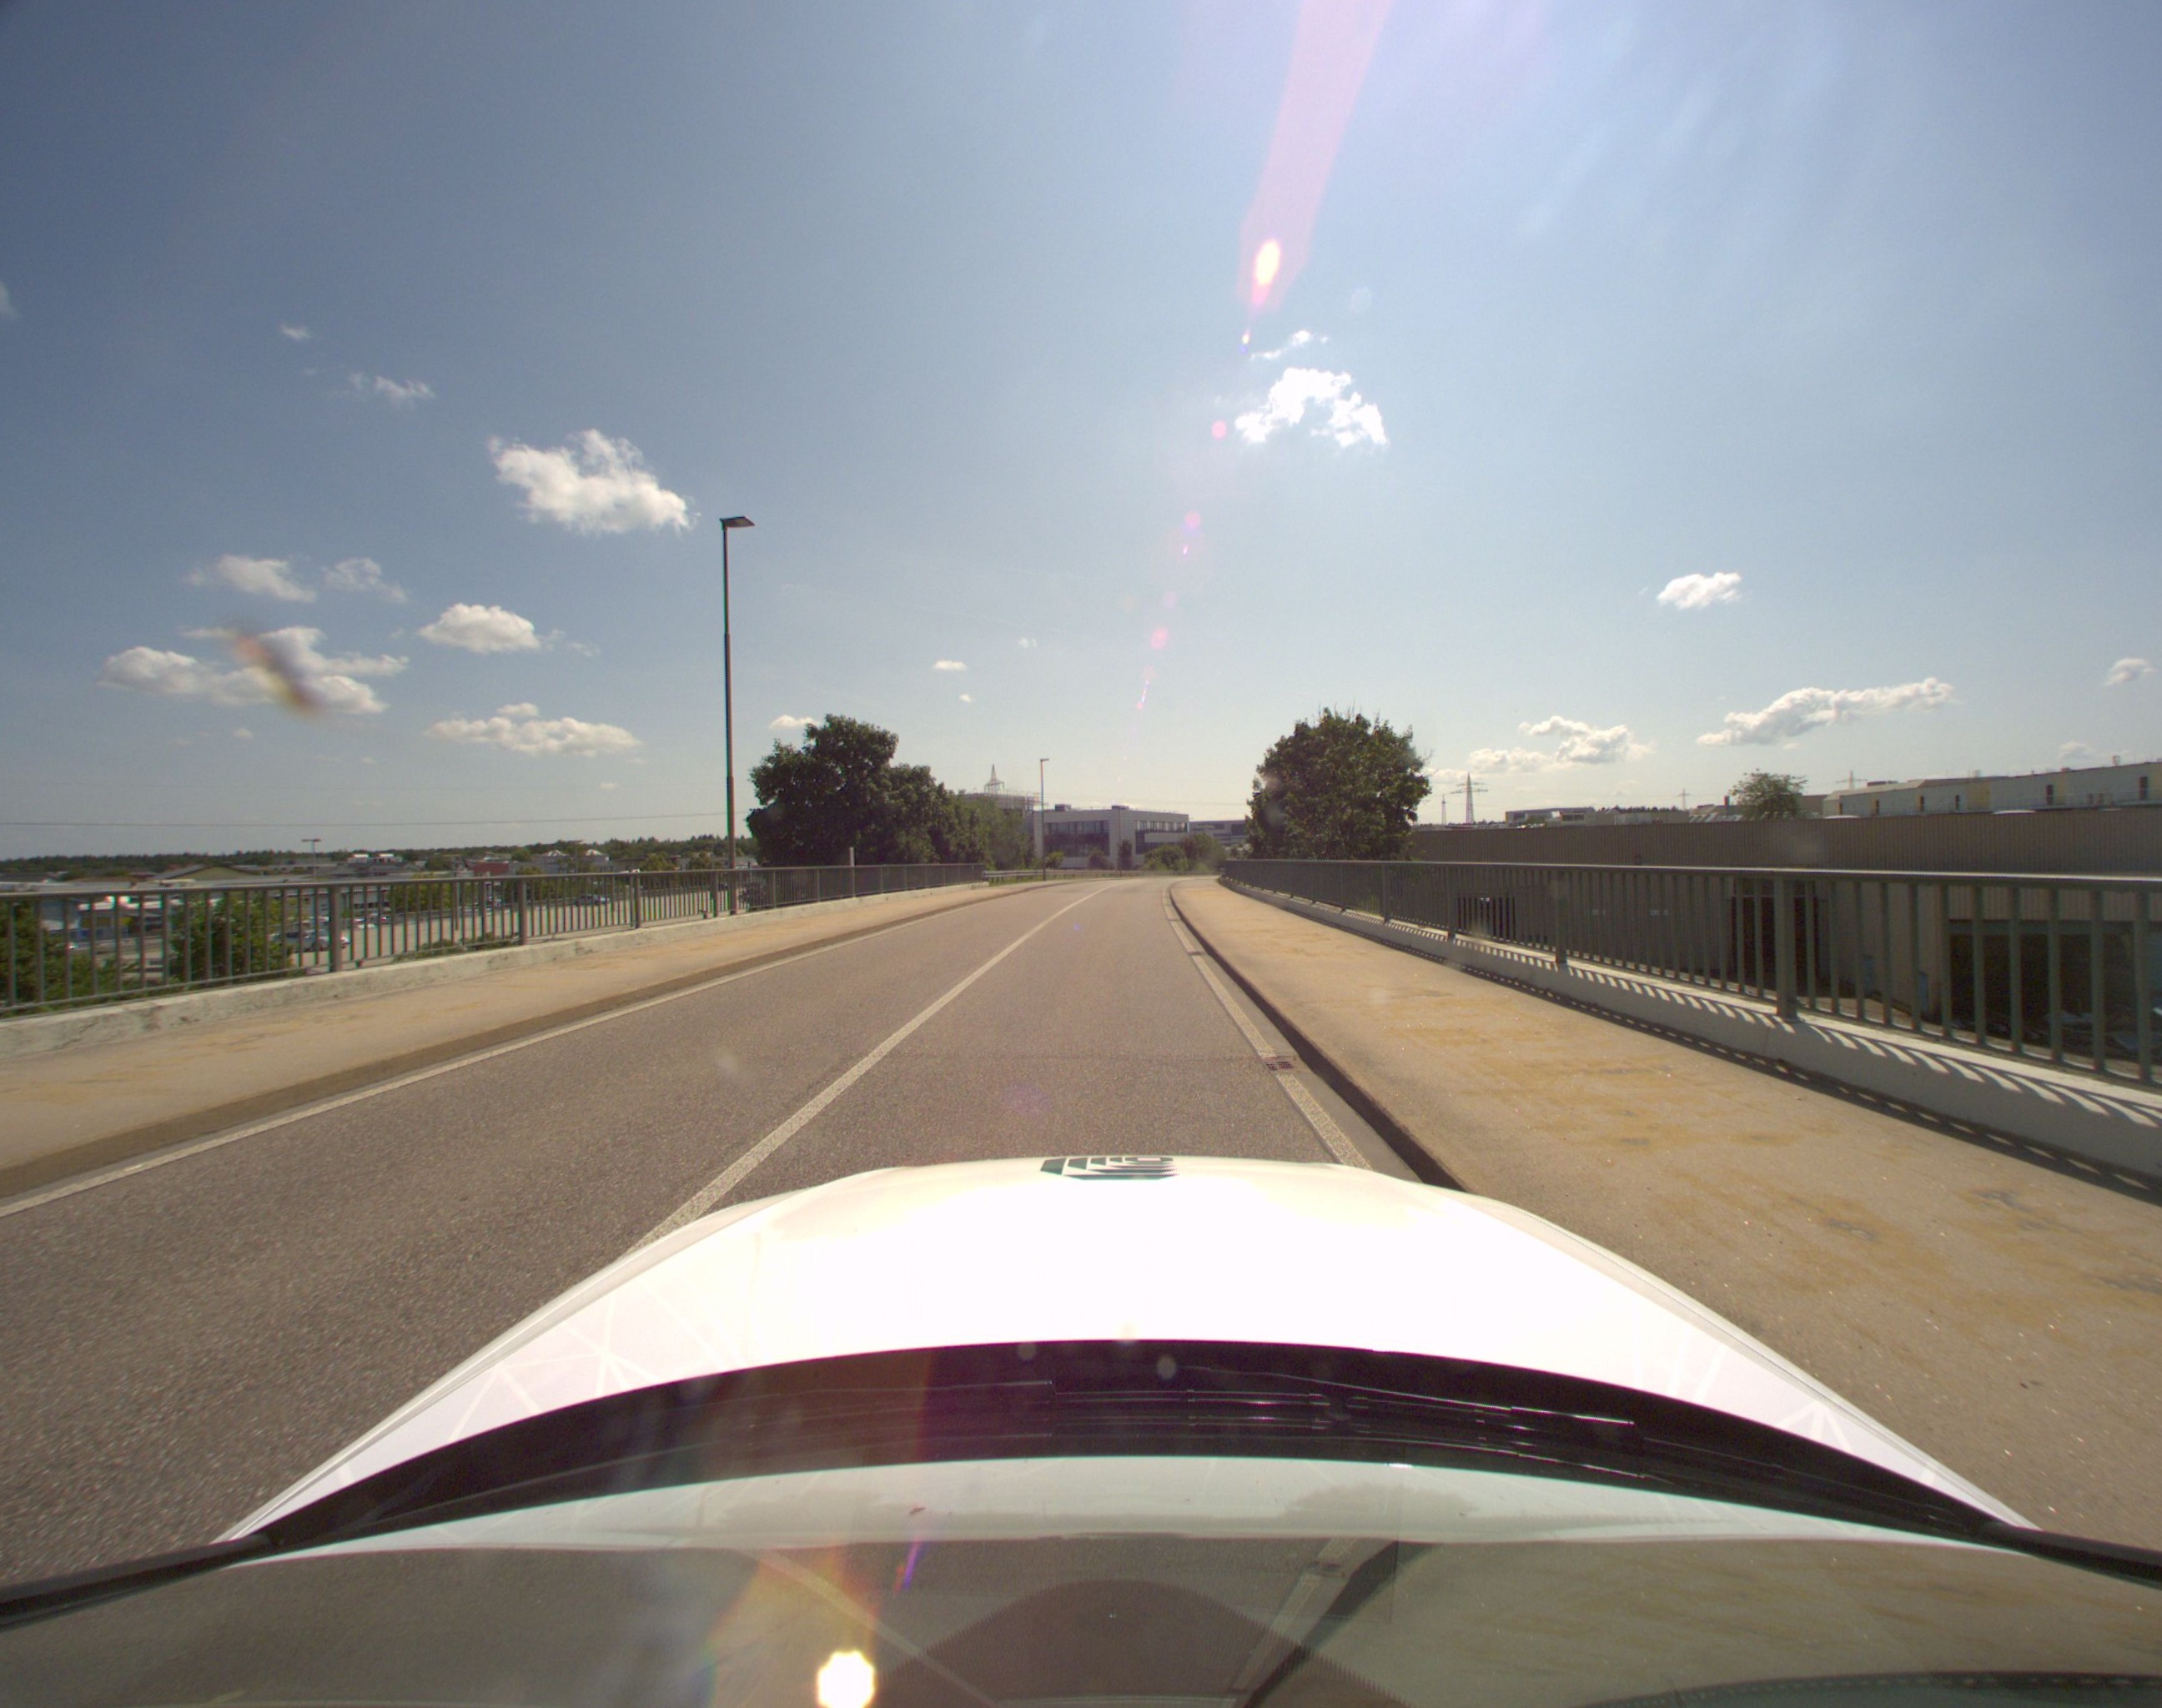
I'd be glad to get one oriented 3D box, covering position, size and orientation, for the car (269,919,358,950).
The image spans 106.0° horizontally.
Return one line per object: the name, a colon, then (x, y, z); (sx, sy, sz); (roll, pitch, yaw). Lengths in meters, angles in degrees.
car: (-52.018, 5.437, 55.266); (3.982, 1.747, 1.903); (-3, -1, -6)
